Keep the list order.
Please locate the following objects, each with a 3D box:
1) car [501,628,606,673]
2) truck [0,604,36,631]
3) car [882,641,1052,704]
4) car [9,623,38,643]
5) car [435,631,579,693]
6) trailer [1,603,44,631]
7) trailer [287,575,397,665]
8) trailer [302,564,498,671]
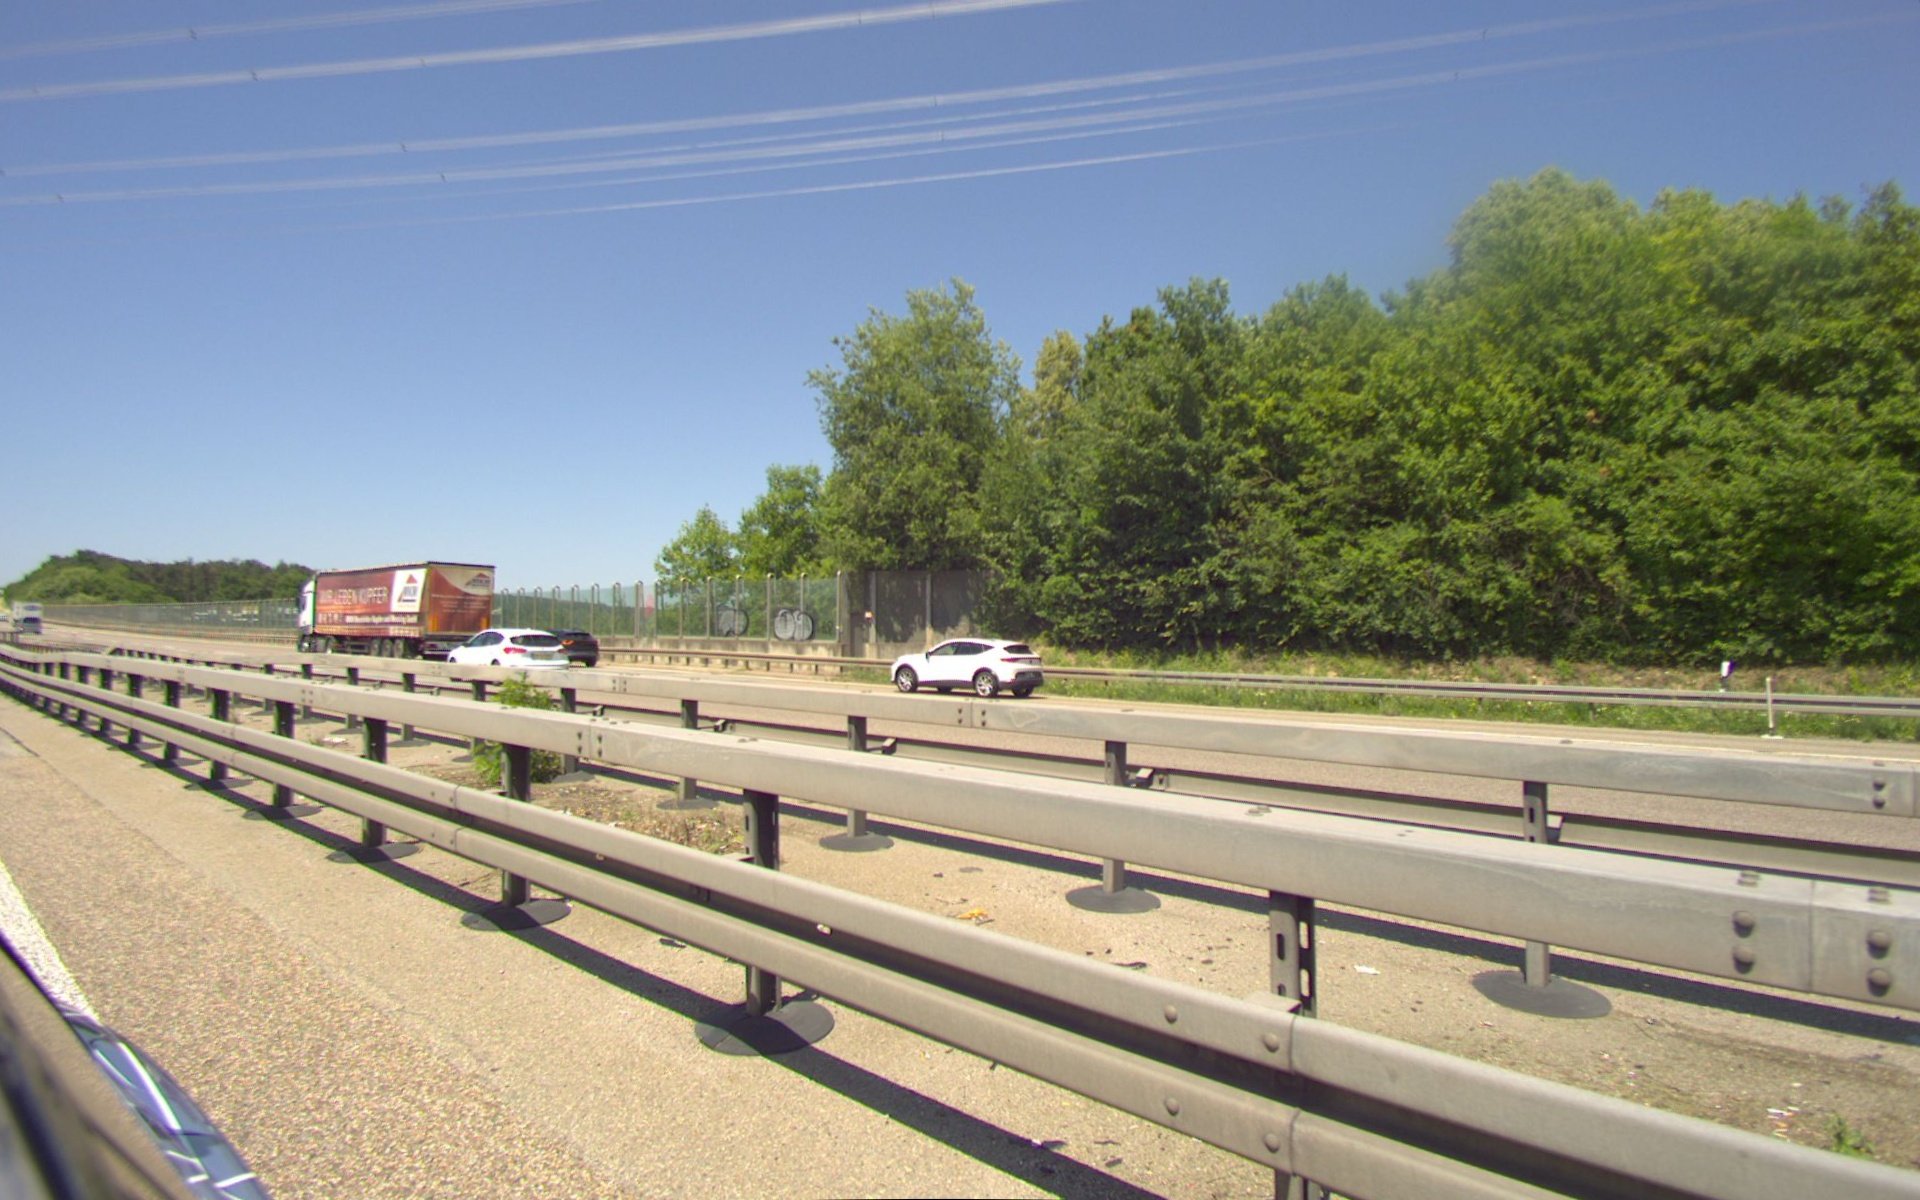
[{"bbox_3d":[-16.816,2.027,41.719,5.275,1.588,1.972,-1,0,43],"label":"car"},{"bbox_3d":[-152.422,2.798,163.712,4.857,4.260,3.963,-1,0,42],"label":"truck"},{"bbox_3d":[0.122,1.841,26.541,4.339,1.467,1.669,-1,-3,38],"label":"car"},{"bbox_3d":[-102.028,3.576,110.235,4.896,1.955,1.972,-1,0,43],"label":"car"},{"bbox_3d":[-12.088,1.577,26.881,4.302,1.478,1.831,-1,-2,41],"label":"car"},{"bbox_3d":[-147.156,2.724,158.774,14.038,4.267,3.946,-2,-1,43],"label":"trailer"},{"bbox_3d":[-29.587,1.011,48.362,6.129,4.007,2.727,-2,-4,42],"label":"trailer"},{"bbox_3d":[-24.669,0.876,43.888,14.676,4.007,2.734,-2,-3,42],"label":"trailer"}]
